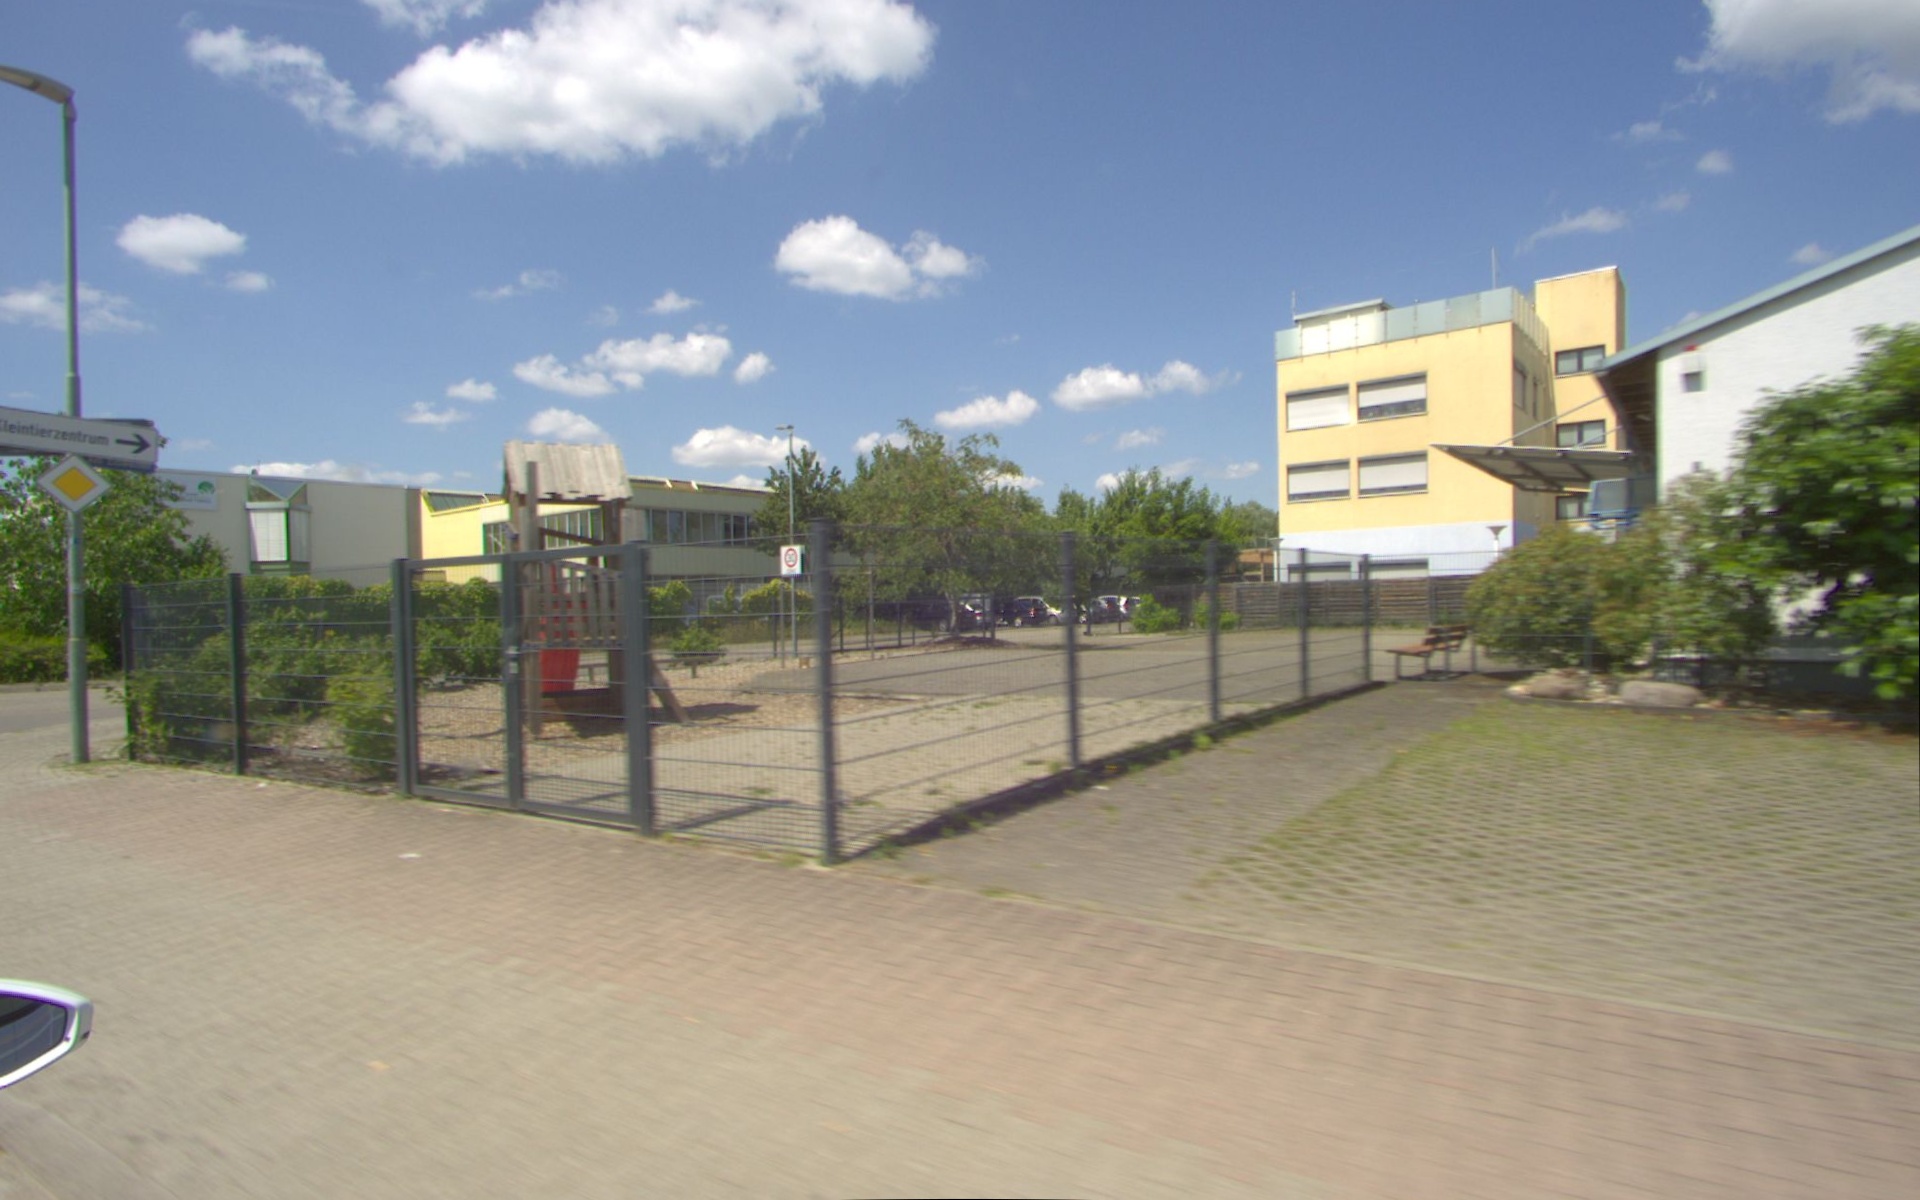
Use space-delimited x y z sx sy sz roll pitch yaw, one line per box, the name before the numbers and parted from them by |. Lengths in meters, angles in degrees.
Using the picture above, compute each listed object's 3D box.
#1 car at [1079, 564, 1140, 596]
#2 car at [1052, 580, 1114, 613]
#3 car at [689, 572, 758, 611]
car | 10.670 -1.392 71.719 1.977 2.040 3.969 -2 -1 -40
car | 8.571 -0.251 69.866 1.977 2.040 3.969 -3 -1 -40
car | -13.951 -0.469 58.967 3.955 2.040 1.984 -4 -1 41
